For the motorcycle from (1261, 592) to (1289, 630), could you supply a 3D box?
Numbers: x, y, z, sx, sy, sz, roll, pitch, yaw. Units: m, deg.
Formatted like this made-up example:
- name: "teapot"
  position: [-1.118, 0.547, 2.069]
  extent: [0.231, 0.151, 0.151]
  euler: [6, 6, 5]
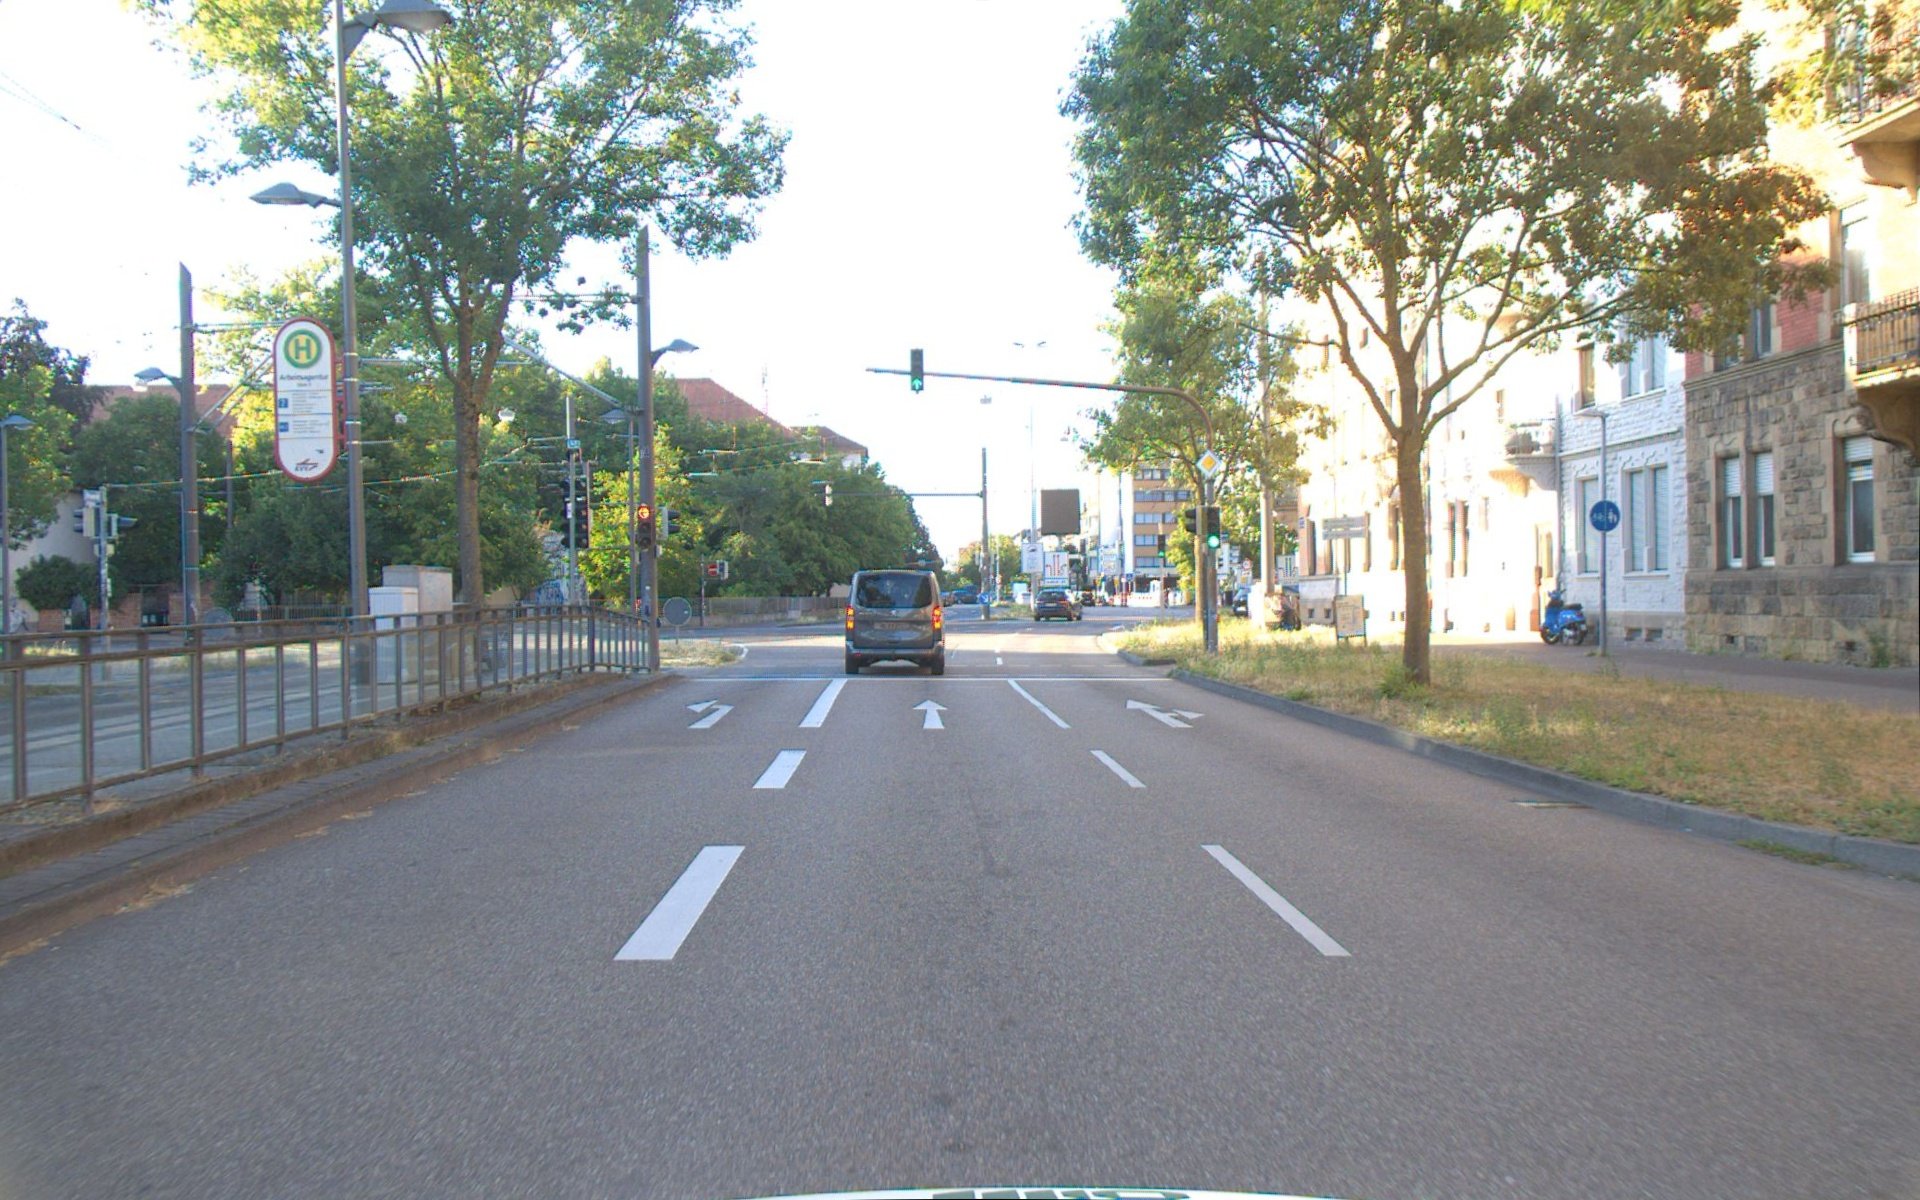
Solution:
- name: "motorcycle"
  position: [9.010, 0.311, 47.377]
  extent: [0.591, 1.062, 1.745]
  euler: [-1, 0, 5]

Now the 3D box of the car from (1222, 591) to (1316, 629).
- name: "car"
  position: [13.097, 0.401, 69.986]
  extent: [3.969, 1.537, 1.968]
  euler: [0, 0, -44]

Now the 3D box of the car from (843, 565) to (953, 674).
- name: "car"
  position: [-1.198, 0.346, 31.800]
  extent: [1.953, 1.934, 4.297]
  euler: [1, 0, -2]

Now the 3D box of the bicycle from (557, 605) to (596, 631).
- name: "bicycle"
  position: [-17.538, 0.819, 75.602]
  extent: [1.709, 1.162, 0.550]
  euler: [-1, 0, -44]

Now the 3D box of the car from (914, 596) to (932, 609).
- name: "car"
  position: [-4.892, 0.343, 220.404]
  extent: [1.951, 1.623, 4.003]
  euler: [-1, 0, 5]

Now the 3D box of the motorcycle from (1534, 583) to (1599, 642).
- name: "motorcycle"
  position: [13.102, 0.255, 35.780]
  extent: [0.542, 1.235, 2.071]
  euler: [0, 0, -3]

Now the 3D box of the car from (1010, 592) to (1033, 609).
- name: "car"
  position: [6.415, 0.084, 173.117]
  extent: [1.954, 1.685, 4.295]
  euler: [-1, 0, -4]

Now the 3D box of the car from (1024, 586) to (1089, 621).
- name: "car"
  position: [4.462, 0.143, 76.020]
  extent: [1.808, 1.571, 3.630]
  euler: [-1, 0, 23]

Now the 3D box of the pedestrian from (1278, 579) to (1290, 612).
- name: "pedestrian"
  position: [16.822, -0.236, 85.975]
  extent: [0.540, 1.657, 0.700]
  euler: [-1, 0, 7]

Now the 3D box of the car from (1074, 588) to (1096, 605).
- name: "car"
  position: [12.755, -0.351, 169.004]
  extent: [1.953, 1.685, 4.298]
  euler: [-1, 0, -1]

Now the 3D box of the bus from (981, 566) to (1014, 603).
- name: "bus"
  position: [4.776, -2.004, 214.915]
  extent: [3.225, 4.698, 9.989]
  euler: [0, 0, -5]

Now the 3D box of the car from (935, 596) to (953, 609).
- name: "car"
  position: [-2.117, 0.338, 220.857]
  extent: [1.951, 1.623, 4.003]
  euler: [-1, 0, 5]
